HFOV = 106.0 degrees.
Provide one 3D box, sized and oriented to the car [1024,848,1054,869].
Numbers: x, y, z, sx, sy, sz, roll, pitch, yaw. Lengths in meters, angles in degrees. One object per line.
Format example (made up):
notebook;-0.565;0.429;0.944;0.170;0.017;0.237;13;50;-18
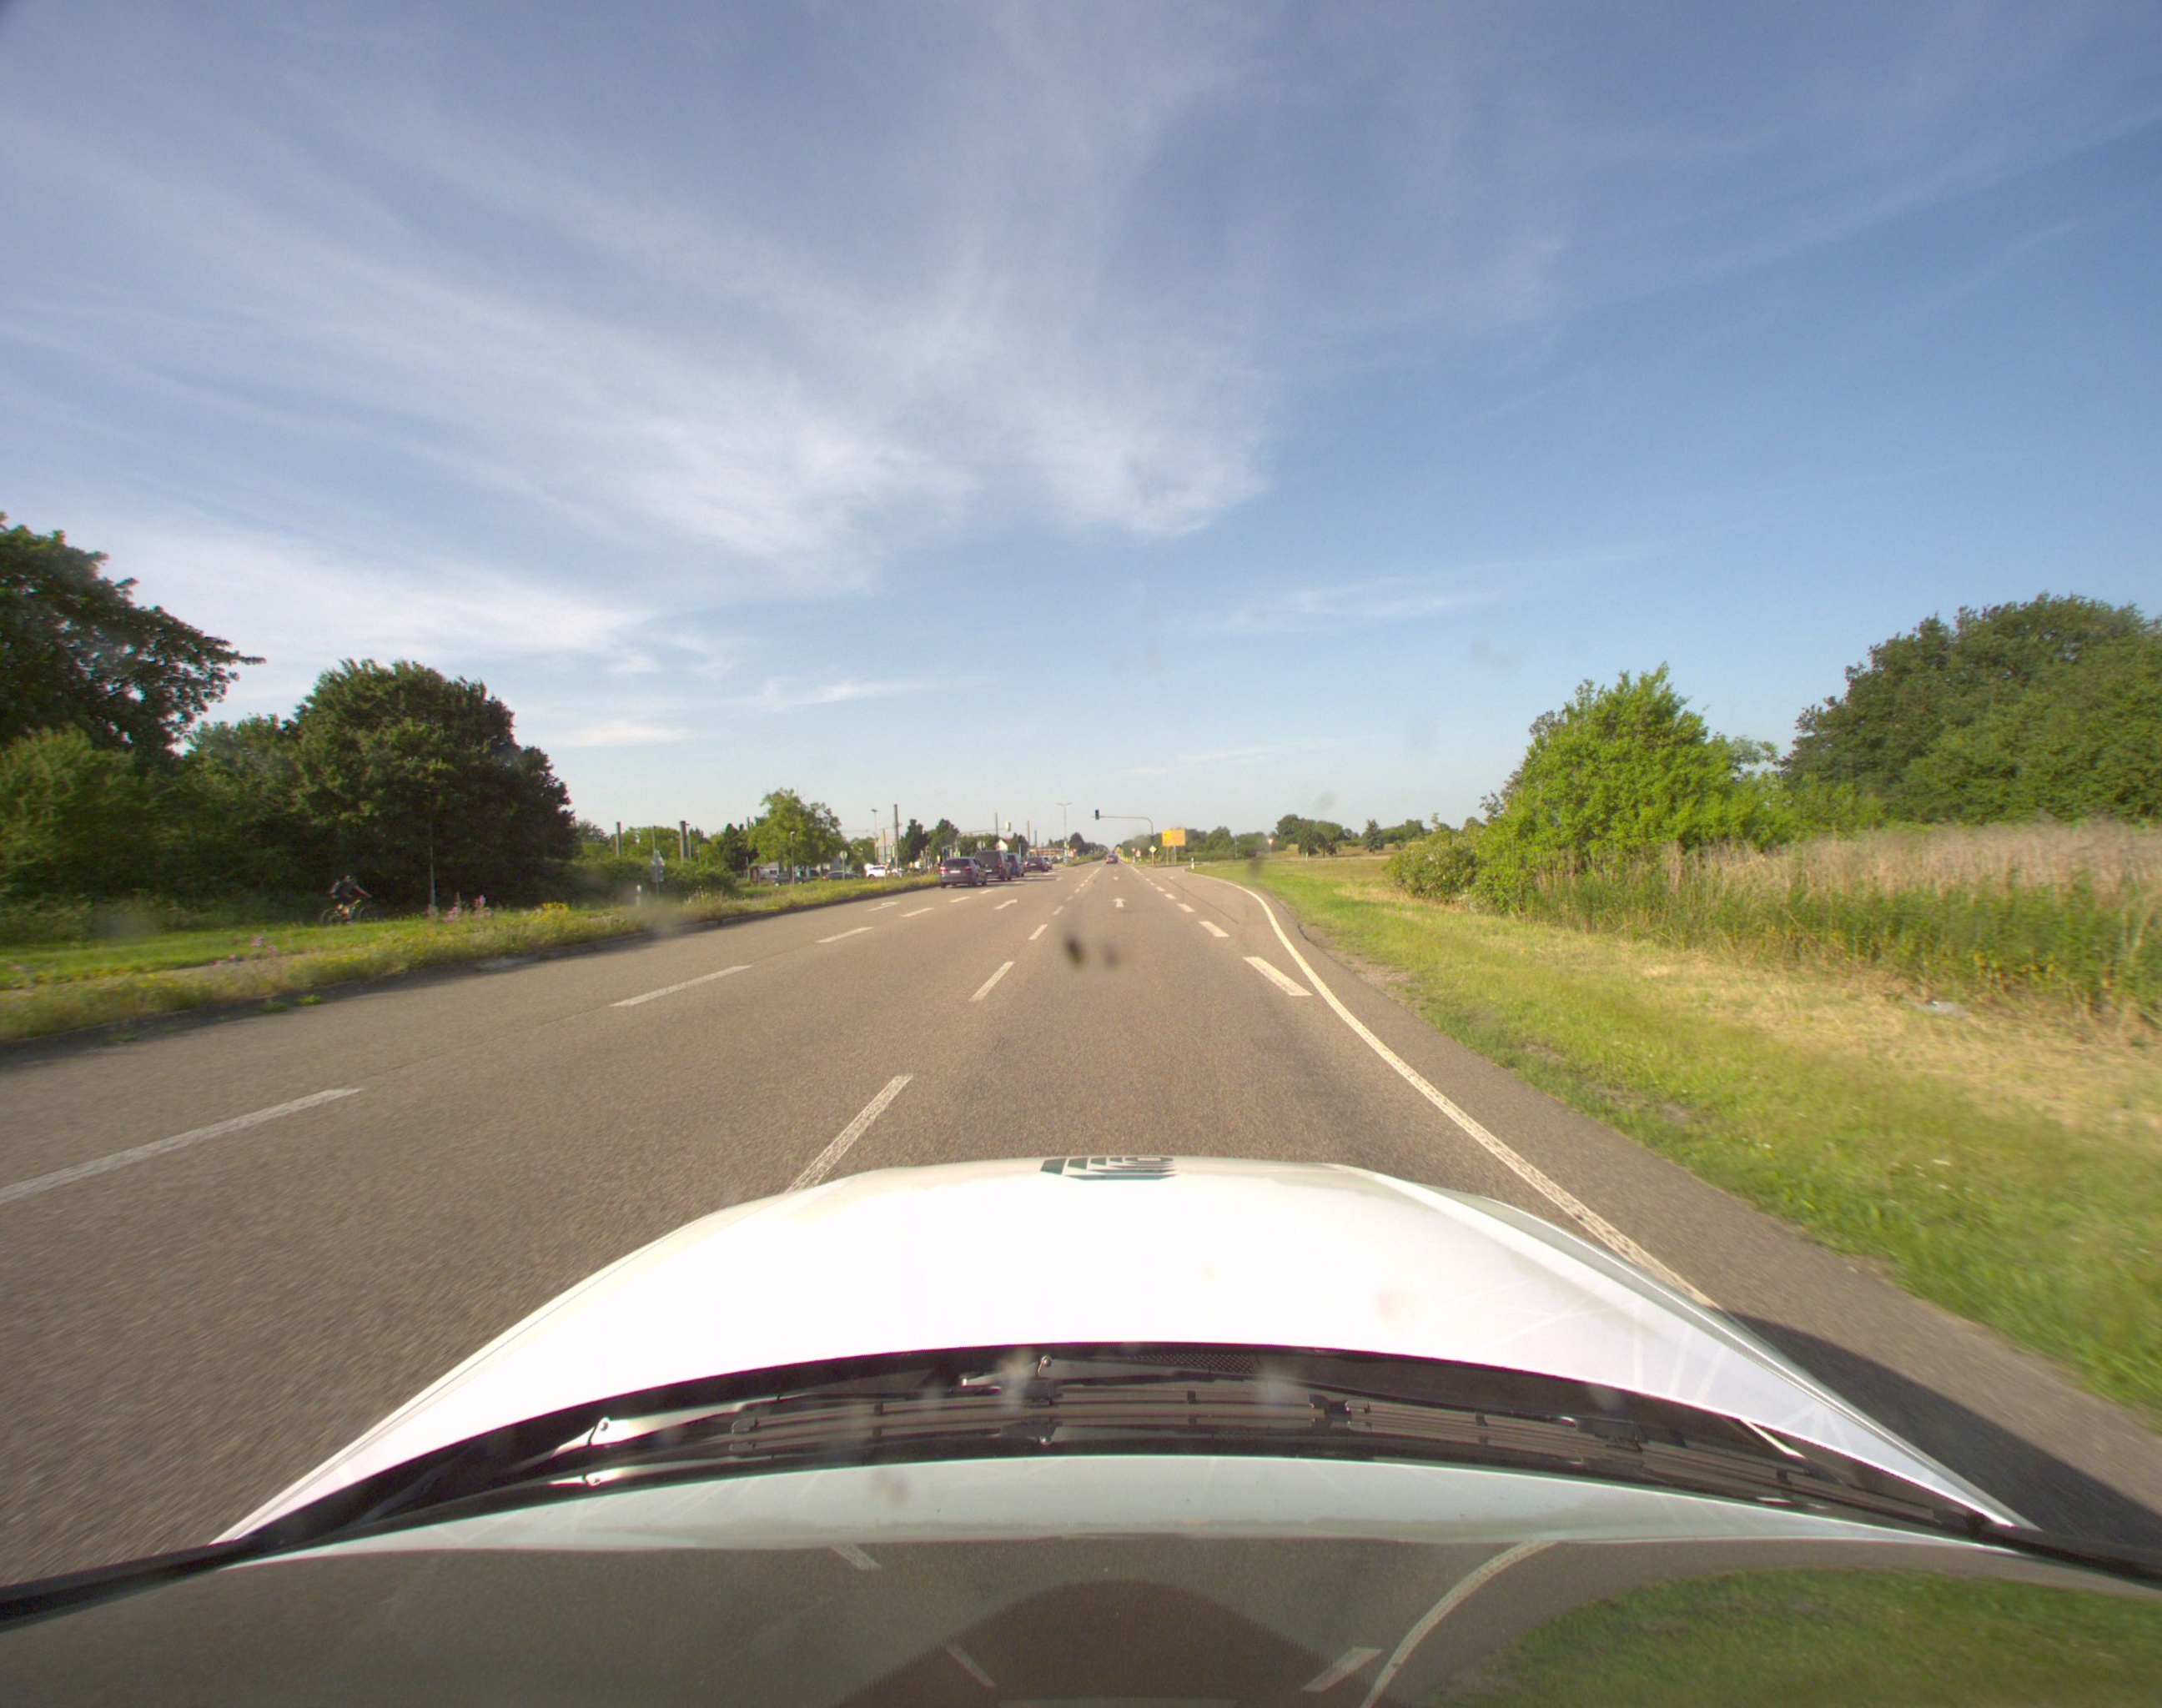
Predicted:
car;-4.397;0.482;85.333;1.837;2.013;3.969;-2;0;-23

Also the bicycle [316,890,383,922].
bicycle;-23.228;1.639;25.901;0.528;0.878;1.705;-2;0;2

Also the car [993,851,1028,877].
car;-4.825;0.648;56.510;1.762;1.679;4.523;-2;0;3

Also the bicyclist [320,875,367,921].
bicyclist;-23.262;1.381;25.689;0.465;1.389;1.048;-2;0;2

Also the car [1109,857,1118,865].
car;6.932;1.478;173.874;1.985;1.552;4.003;-2;0;3

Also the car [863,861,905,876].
car;-21.586;1.583;89.287;3.959;1.662;1.894;-1;-2;13

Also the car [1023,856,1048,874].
car;-4.009;0.929;72.330;1.763;1.471;4.018;-2;0;3

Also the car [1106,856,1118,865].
car;5.487;1.145;144.366;1.985;1.552;4.003;-2;0;3

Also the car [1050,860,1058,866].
car;-7.540;2.471;228.116;1.681;1.662;3.761;-2;0;3

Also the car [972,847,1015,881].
car;-5.015;0.543;47.256;1.725;1.855;4.523;-2;0;3

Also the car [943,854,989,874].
car;-12.989;1.140;92.252;4.806;2.014;1.999;-2;-2;-1

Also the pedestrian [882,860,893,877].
pedestrian;-19.944;1.479;83.803;0.913;1.706;1.066;0;-2;-4

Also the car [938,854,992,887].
car;-5.648;0.767;40.083;1.725;1.456;4.523;-2;0;3
